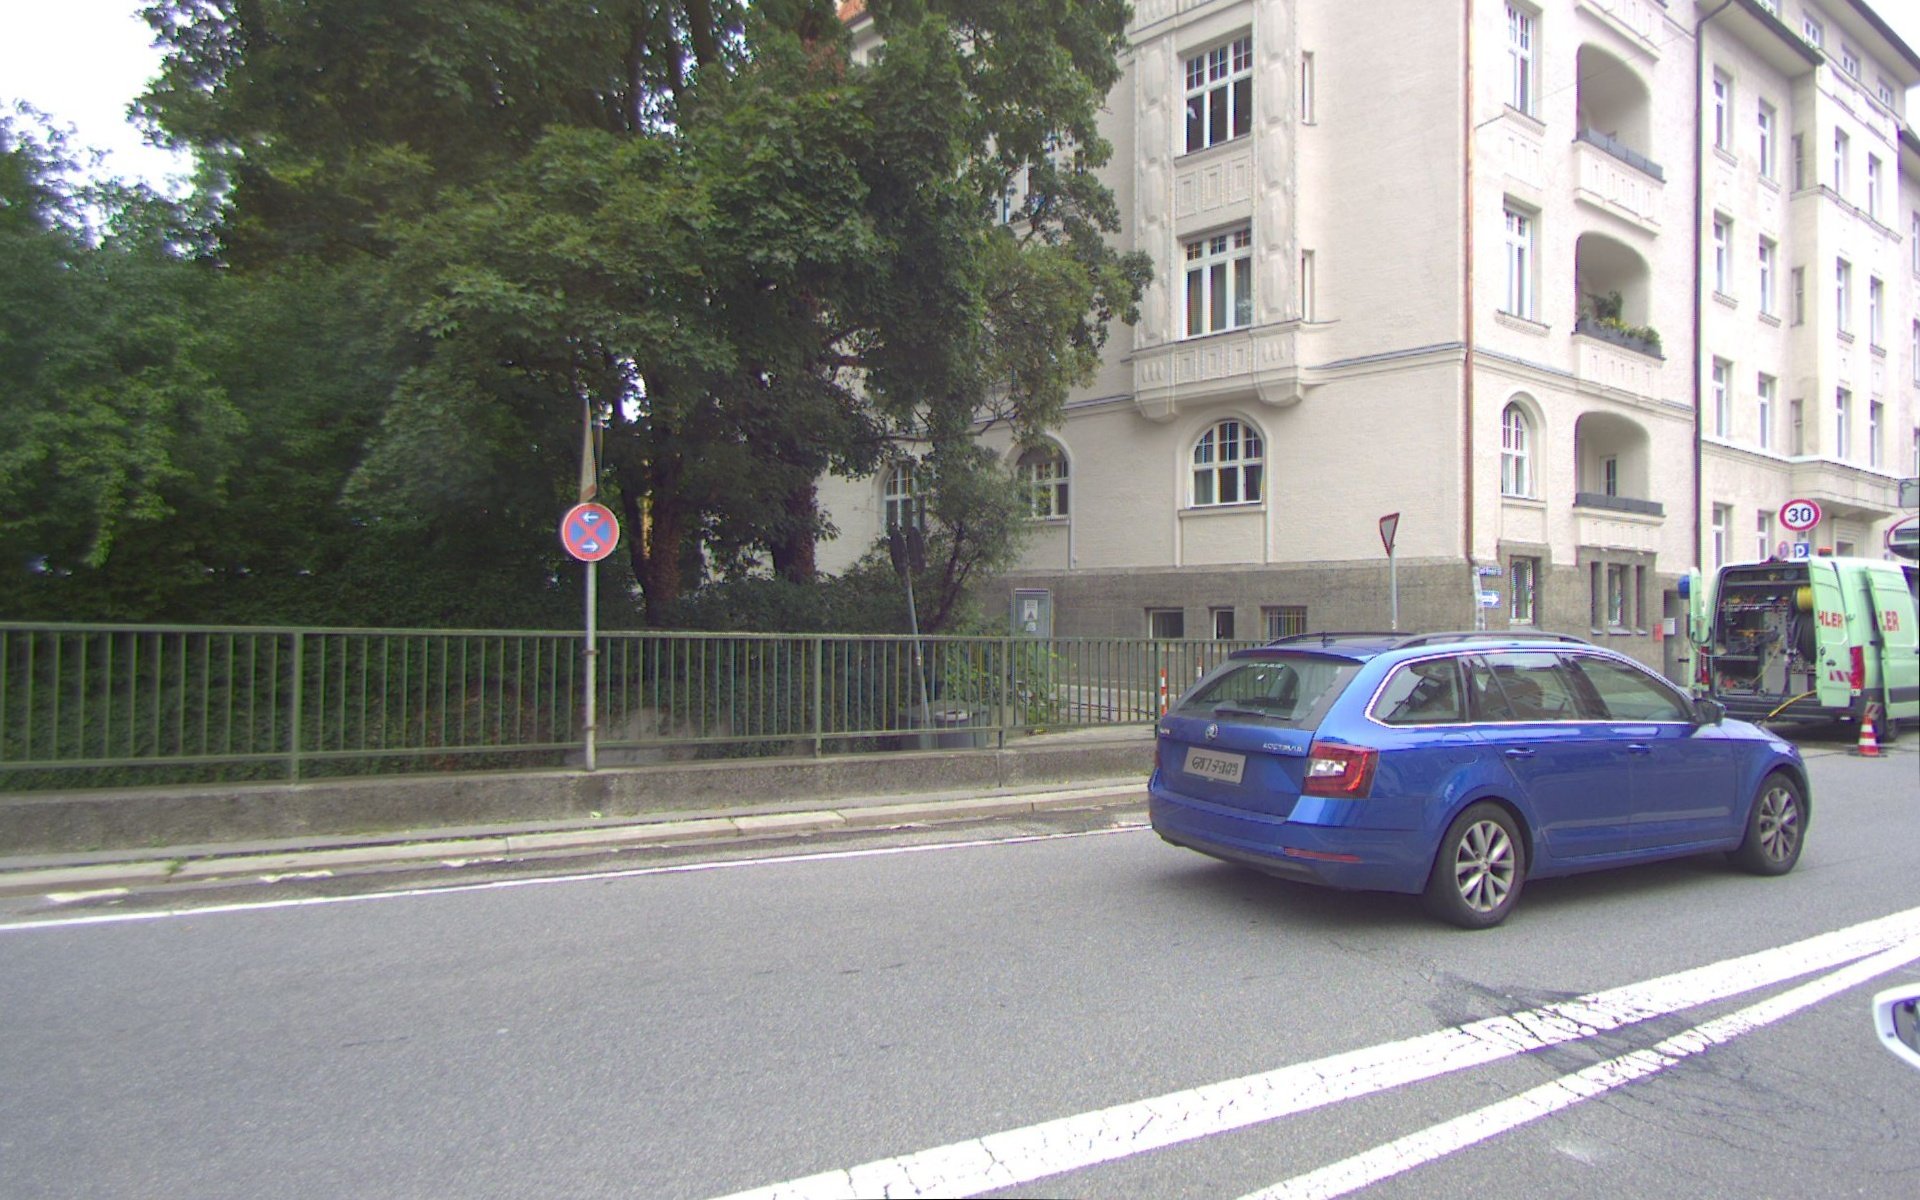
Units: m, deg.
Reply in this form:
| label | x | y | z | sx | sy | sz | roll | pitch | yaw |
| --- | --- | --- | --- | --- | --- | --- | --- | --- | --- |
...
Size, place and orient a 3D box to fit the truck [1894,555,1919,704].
| label | x | y | z | sx | sy | sz | roll | pitch | yaw |
| --- | --- | --- | --- | --- | --- | --- | --- | --- | --- |
| truck | 22.296 | 0.563 | 20.637 | 7.119 | 2.911 | 2.759 | 0 | -1 | -32 |

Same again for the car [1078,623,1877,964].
| label | x | y | z | sx | sy | sz | roll | pitch | yaw |
| --- | --- | --- | --- | --- | --- | --- | --- | --- | --- |
| car | 3.250 | 0.927 | 6.246 | 4.669 | 1.473 | 1.982 | 2 | -2 | -25 |

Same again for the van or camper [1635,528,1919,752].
| label | x | y | z | sx | sy | sz | roll | pitch | yaw |
| --- | --- | --- | --- | --- | --- | --- | --- | --- | --- |
| van or camper | 13.453 | 0.542 | 15.678 | 6.117 | 2.878 | 2.587 | 0 | -1 | -32 |
